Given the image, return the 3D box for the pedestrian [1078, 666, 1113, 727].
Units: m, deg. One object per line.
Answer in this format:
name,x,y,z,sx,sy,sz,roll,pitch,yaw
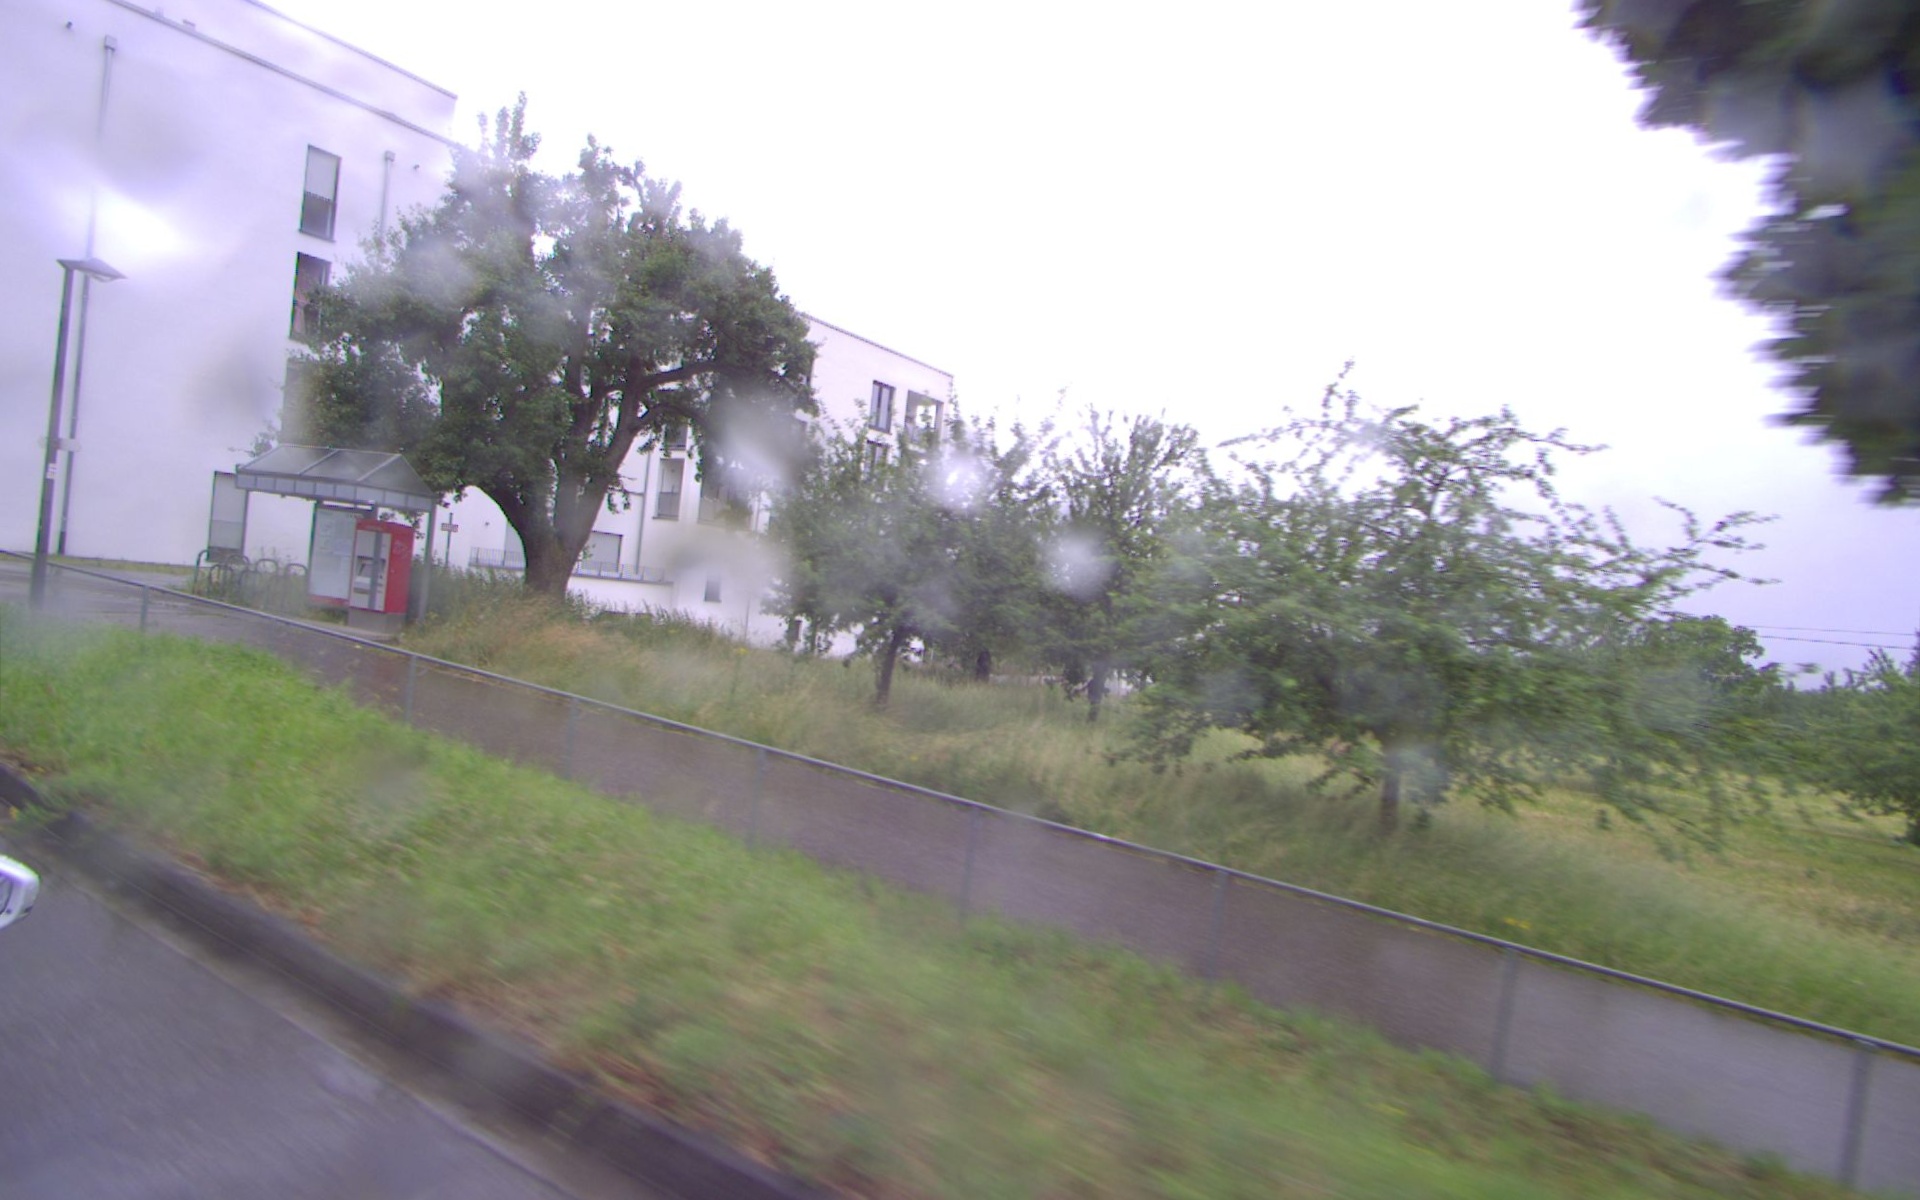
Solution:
pedestrian,4.920,3.496,36.532,0.763,2.038,0.769,8,1,-11
